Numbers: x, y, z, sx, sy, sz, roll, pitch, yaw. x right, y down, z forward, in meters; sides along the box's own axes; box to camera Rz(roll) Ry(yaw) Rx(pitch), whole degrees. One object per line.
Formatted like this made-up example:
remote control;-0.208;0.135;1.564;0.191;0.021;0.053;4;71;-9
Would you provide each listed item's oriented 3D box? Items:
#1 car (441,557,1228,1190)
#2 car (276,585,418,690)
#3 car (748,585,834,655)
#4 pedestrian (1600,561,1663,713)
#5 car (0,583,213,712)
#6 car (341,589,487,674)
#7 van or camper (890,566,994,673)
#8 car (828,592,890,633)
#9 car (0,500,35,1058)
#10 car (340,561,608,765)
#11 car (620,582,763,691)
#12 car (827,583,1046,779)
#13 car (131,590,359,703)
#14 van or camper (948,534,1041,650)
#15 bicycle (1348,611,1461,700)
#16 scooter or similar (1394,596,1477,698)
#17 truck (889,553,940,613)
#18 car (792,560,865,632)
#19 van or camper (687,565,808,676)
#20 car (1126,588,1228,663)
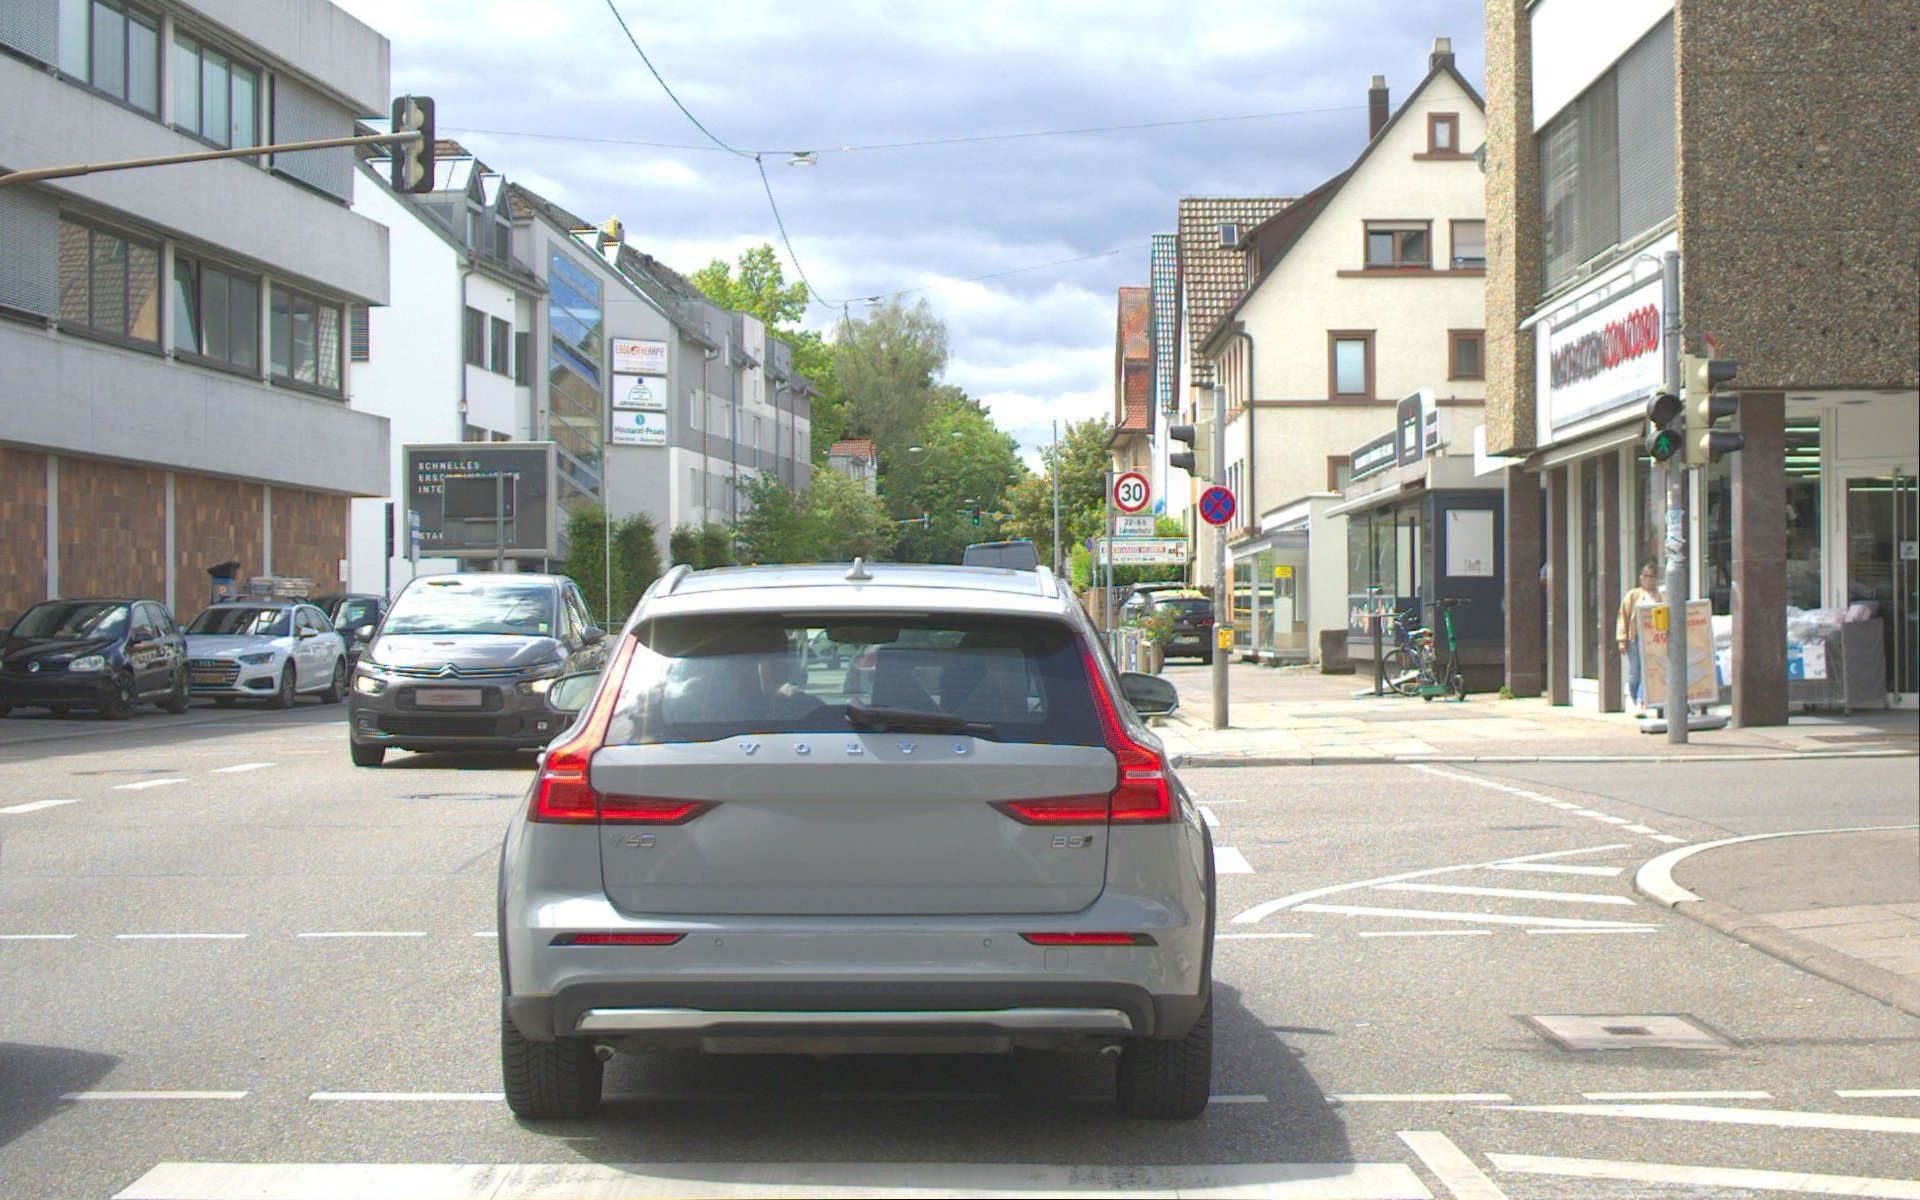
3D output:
car;-0.308;0.616;10.036;1.836;1.481;4.000;0;1;0
car;-9.480;0.557;53.339;1.607;1.538;2.944;2;0;1
car;-3.798;0.436;77.791;1.668;1.548;4.215;0;0;1
pedestrian;6.591;0.363;33.725;0.504;1.454;0.499;-3;-1;14
car;-10.562;0.547;41.818;1.785;1.459;4.086;1;0;4
car;-9.444;0.529;59.706;1.755;1.422;3.861;-1;0;3
van or camper;-0.320;0.389;62.245;1.819;1.829;4.000;0;-2;0
car;-3.614;0.430;123.214;1.762;1.421;3.999;-1;0;5
car;-3.691;0.552;8.309;1.780;1.634;4.220;-2;0;-1
car;-4.025;0.489;29.069;1.789;1.584;4.101;-1;0;-2
car;-3.834;0.501;49.618;1.683;1.492;3.967;-1;0;1
car;-0.185;0.627;27.995;1.650;1.477;3.607;1;0;0
car;-9.795;0.602;47.443;1.904;1.438;4.442;1;0;4
van or camper;0.845;-0.192;82.654;2.123;2.677;4.781;-1;0;1
bicycle;5.908;0.719;45.807;0.554;1.140;2.301;-1;0;-17
scooter or similar;5.941;0.598;43.001;0.340;1.249;1.246;-2;-1;-26
truck;-2.230;-0.855;170.674;2.276;2.877;7.079;-1;0;1
car;-3.558;-0.093;93.825;1.838;1.911;4.156;1;0;0
van or camper;-3.750;0.328;61.375;1.864;1.891;4.692;0;1;0
car;4.434;0.538;70.723;1.710;1.459;4.000;1;-1;-2
